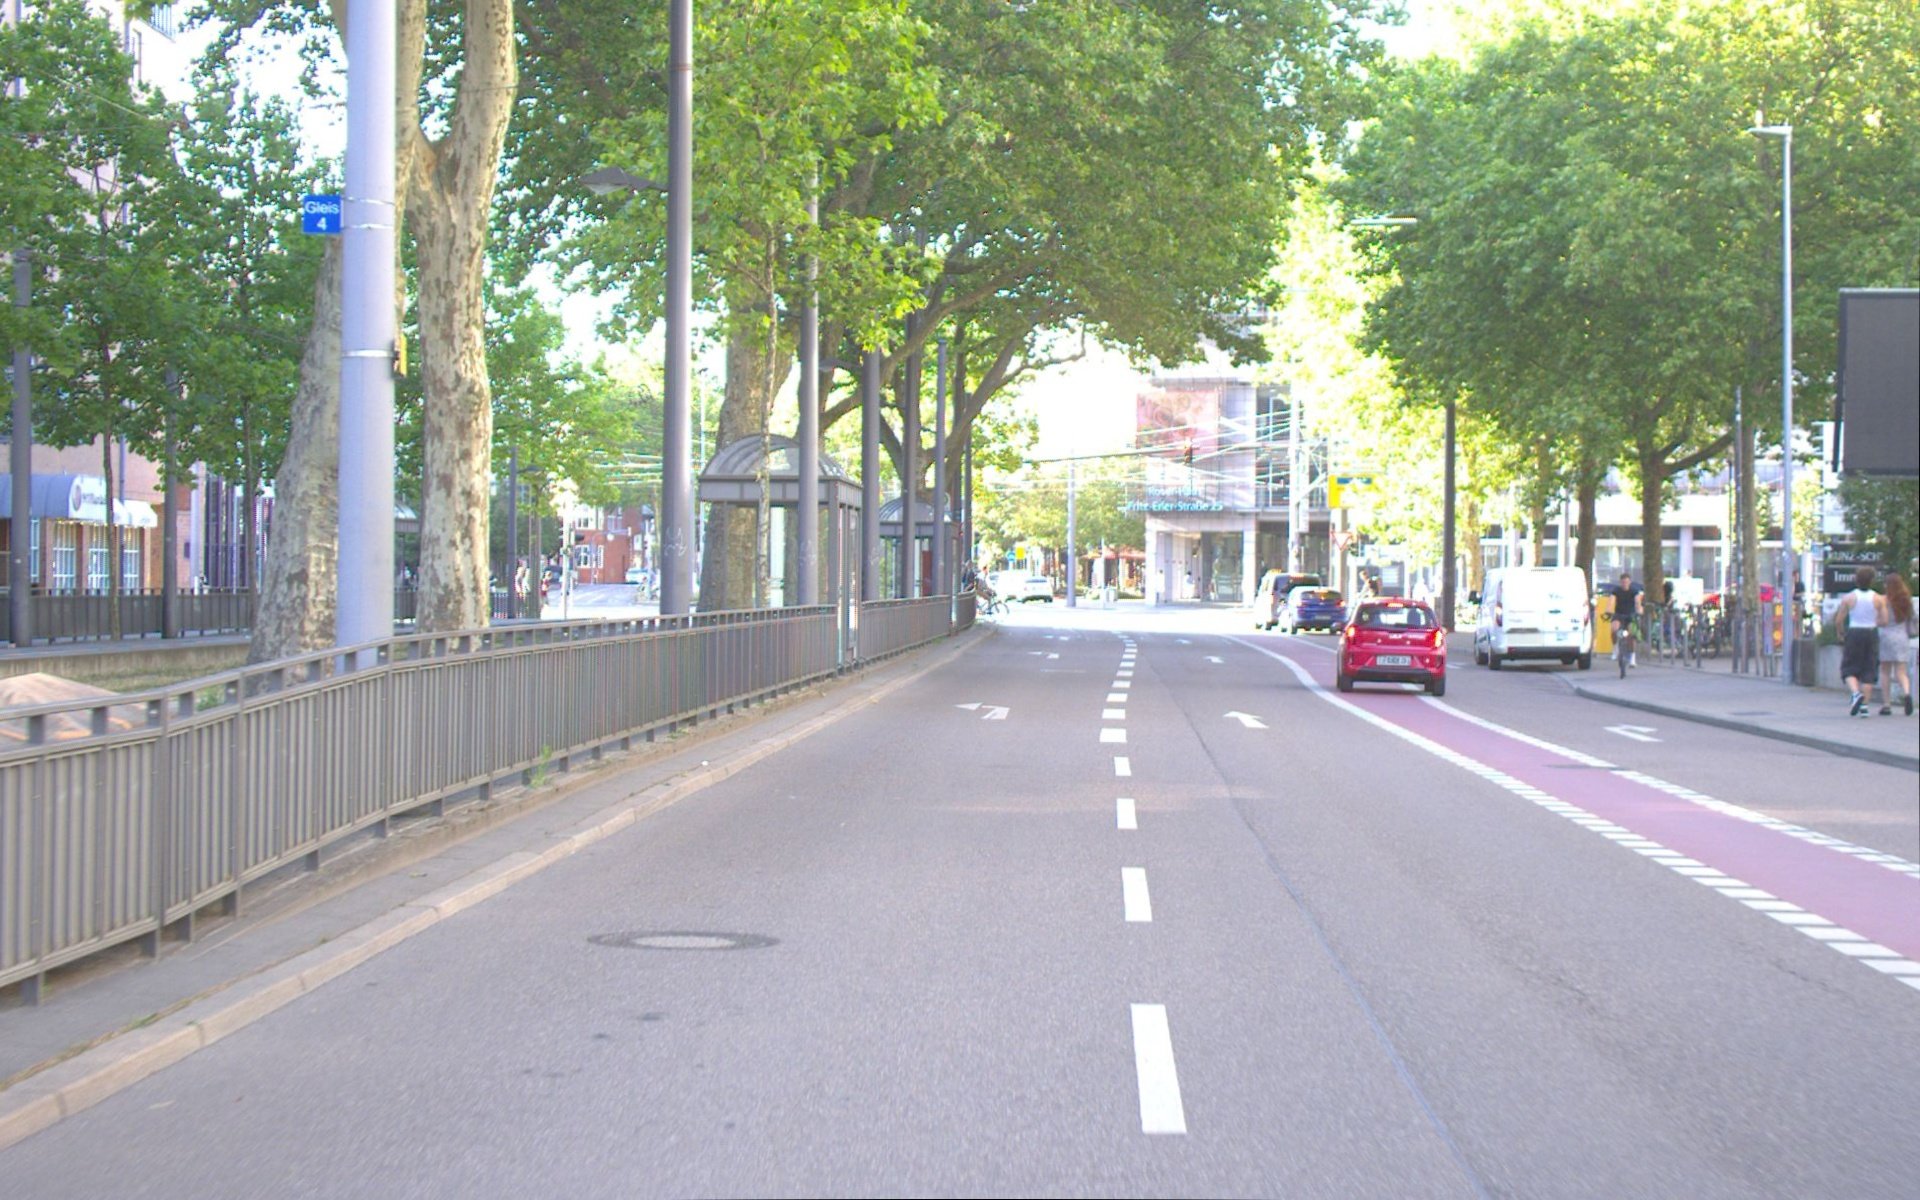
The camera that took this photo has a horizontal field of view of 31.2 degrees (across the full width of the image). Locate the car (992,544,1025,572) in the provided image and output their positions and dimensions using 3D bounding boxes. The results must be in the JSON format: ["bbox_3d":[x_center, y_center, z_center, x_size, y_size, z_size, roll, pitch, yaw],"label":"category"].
[{"bbox_3d":[2.906,-2.516,206.191,1.777,1.583,3.412,1,1,-2],"label":"car"}]

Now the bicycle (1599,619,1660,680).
[{"bbox_3d":[12.072,0.884,62.036,0.683,1.063,2.469,0,0,2],"label":"bicycle"}]

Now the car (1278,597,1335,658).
[{"bbox_3d":[10.603,0.834,105.409,1.636,1.794,3.329,0,1,4],"label":"car"}]

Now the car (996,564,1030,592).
[{"bbox_3d":[3.083,-1.282,200.172,1.777,1.529,3.412,1,1,-2],"label":"car"}]

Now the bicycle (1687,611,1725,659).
[{"bbox_3d":[15.891,0.740,73.282,0.467,0.978,1.767,0,0,2],"label":"bicycle"}]

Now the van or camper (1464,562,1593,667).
[{"bbox_3d":[11.212,0.268,68.025,1.994,1.982,4.744,1,0,3],"label":"van or camper"}]

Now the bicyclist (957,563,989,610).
[{"bbox_3d":[0.434,-0.458,117.717,0.836,1.586,0.840,1,0,-17],"label":"bicyclist"}]

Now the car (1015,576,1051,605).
[{"bbox_3d":[4.128,-0.531,193.529,1.777,1.529,3.412,1,1,-2],"label":"car"}]

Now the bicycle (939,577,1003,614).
[{"bbox_3d":[0.385,-0.158,117.691,2.011,1.210,0.840,1,0,-17],"label":"bicycle"}]

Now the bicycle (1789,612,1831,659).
[{"bbox_3d":[18.102,0.752,73.223,0.503,0.978,1.767,0,0,2],"label":"bicycle"}]

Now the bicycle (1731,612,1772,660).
[{"bbox_3d":[16.865,0.759,73.251,0.503,0.978,1.767,0,0,2],"label":"bicycle"}]

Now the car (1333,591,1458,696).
[{"bbox_3d":[6.792,0.660,53.861,1.613,1.529,3.411,1,1,2],"label":"car"}]

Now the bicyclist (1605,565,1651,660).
[{"bbox_3d":[12.071,0.219,62.136,0.650,1.696,0.952,1,0,2],"label":"bicyclist"}]

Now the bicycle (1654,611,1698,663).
[{"bbox_3d":[15.251,0.784,73.293,0.586,1.063,1.900,0,0,2],"label":"bicycle"}]

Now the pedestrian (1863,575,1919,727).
[{"bbox_3d":[11.350,0.607,41.580,0.540,1.790,0.907,-3,0,0],"label":"pedestrian"}]

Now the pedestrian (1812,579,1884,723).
[{"bbox_3d":[10.727,0.606,41.557,0.564,1.696,0.907,-3,0,0],"label":"pedestrian"}]

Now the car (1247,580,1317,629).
[{"bbox_3d":[10.424,0.136,111.479,1.777,1.529,3.512,1,1,-2],"label":"car"}]
